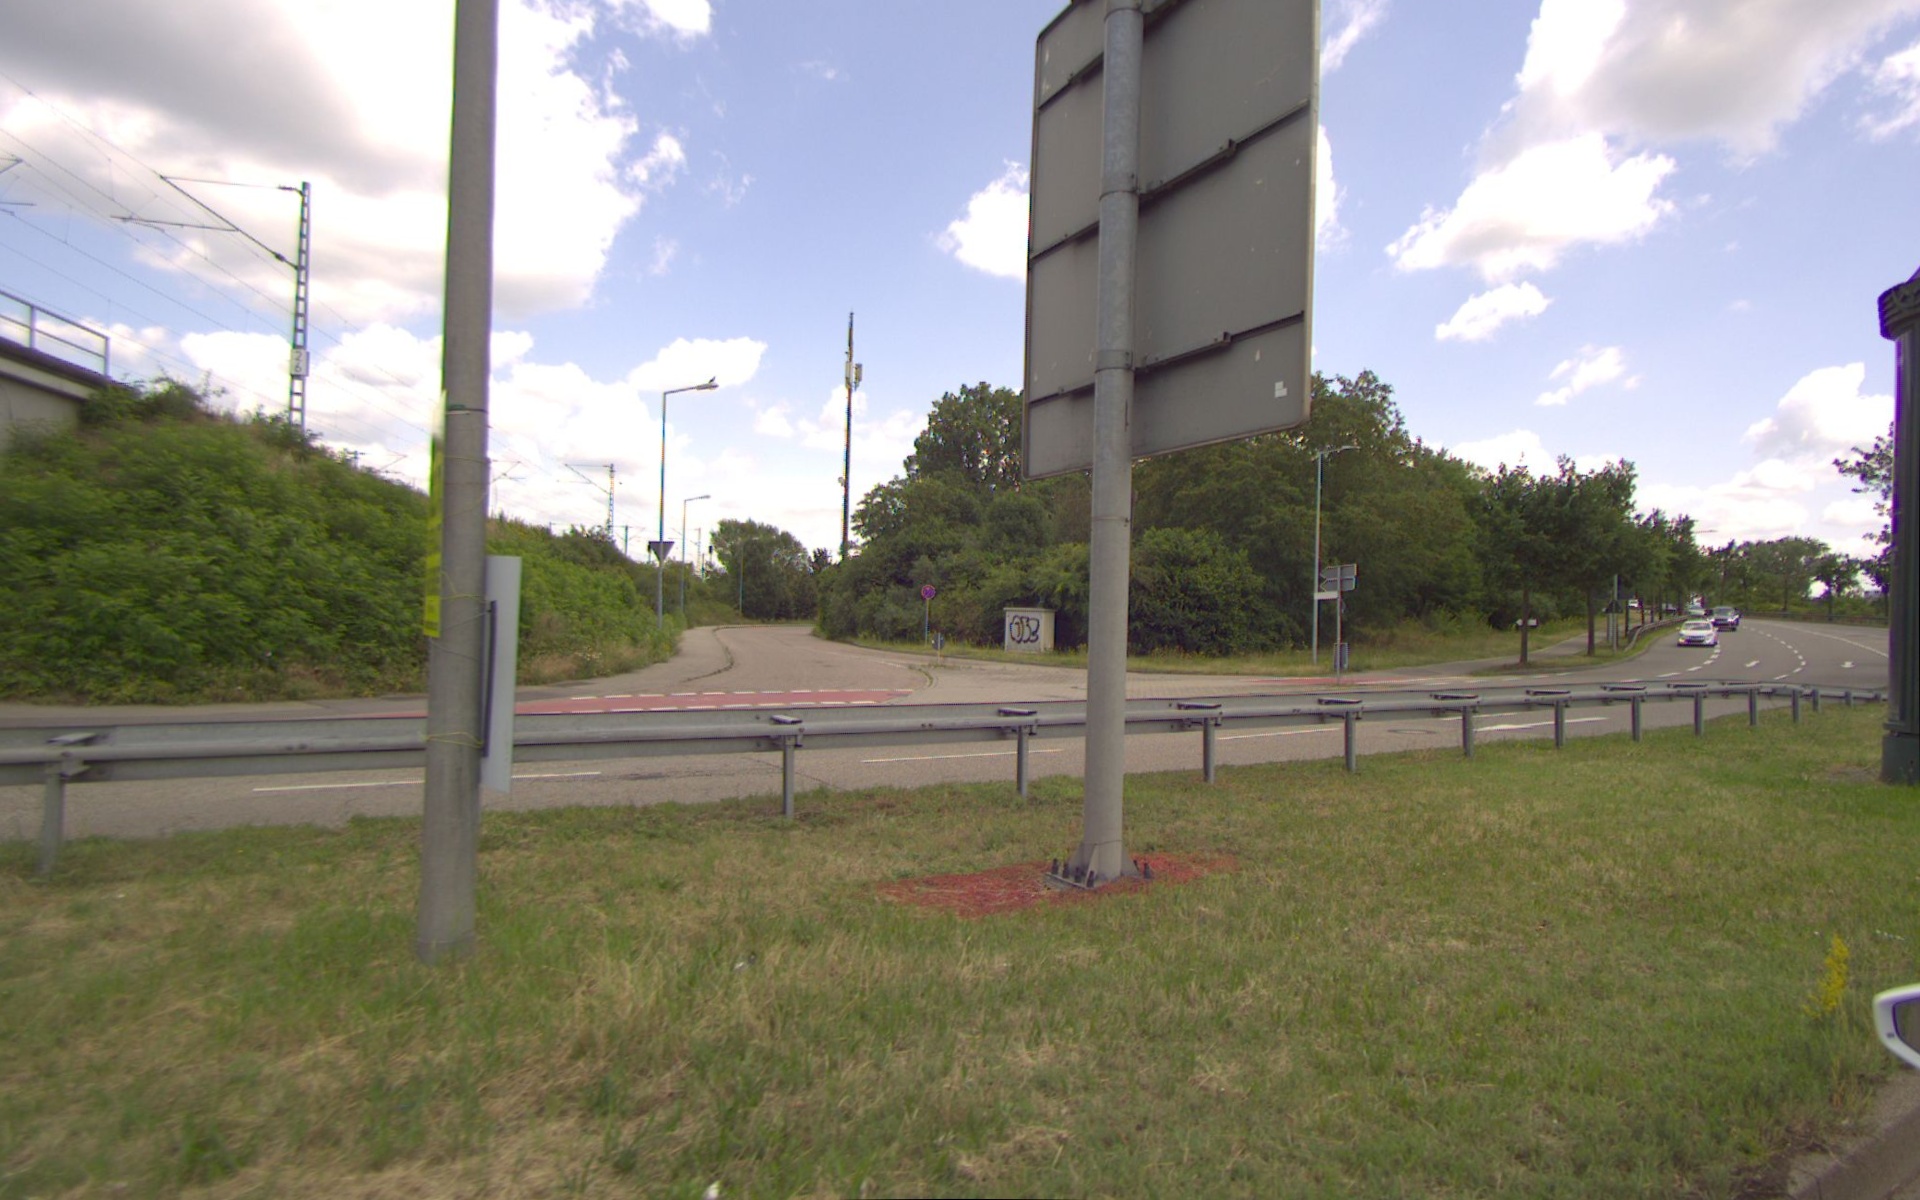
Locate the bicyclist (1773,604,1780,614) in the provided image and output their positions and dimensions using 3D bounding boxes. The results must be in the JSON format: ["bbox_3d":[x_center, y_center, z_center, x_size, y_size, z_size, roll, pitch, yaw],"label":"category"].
[{"bbox_3d":[94.347,1.051,116.018,0.467,1.183,0.826,-1,-2,28],"label":"bicyclist"}]

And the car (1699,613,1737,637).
[{"bbox_3d":[60.837,2.000,80.653,1.965,1.886,4.704,0,-1,31],"label":"car"}]

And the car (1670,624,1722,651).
[{"bbox_3d":[43.739,2.232,59.675,1.972,1.552,4.306,-3,-3,43],"label":"car"}]

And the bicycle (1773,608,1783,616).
[{"bbox_3d":[94.326,1.401,115.833,0.534,0.877,1.747,3,0,29],"label":"bicycle"}]

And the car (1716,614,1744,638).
[{"bbox_3d":[70.369,2.338,91.870,1.968,2.041,4.798,0,1,37],"label":"car"}]
